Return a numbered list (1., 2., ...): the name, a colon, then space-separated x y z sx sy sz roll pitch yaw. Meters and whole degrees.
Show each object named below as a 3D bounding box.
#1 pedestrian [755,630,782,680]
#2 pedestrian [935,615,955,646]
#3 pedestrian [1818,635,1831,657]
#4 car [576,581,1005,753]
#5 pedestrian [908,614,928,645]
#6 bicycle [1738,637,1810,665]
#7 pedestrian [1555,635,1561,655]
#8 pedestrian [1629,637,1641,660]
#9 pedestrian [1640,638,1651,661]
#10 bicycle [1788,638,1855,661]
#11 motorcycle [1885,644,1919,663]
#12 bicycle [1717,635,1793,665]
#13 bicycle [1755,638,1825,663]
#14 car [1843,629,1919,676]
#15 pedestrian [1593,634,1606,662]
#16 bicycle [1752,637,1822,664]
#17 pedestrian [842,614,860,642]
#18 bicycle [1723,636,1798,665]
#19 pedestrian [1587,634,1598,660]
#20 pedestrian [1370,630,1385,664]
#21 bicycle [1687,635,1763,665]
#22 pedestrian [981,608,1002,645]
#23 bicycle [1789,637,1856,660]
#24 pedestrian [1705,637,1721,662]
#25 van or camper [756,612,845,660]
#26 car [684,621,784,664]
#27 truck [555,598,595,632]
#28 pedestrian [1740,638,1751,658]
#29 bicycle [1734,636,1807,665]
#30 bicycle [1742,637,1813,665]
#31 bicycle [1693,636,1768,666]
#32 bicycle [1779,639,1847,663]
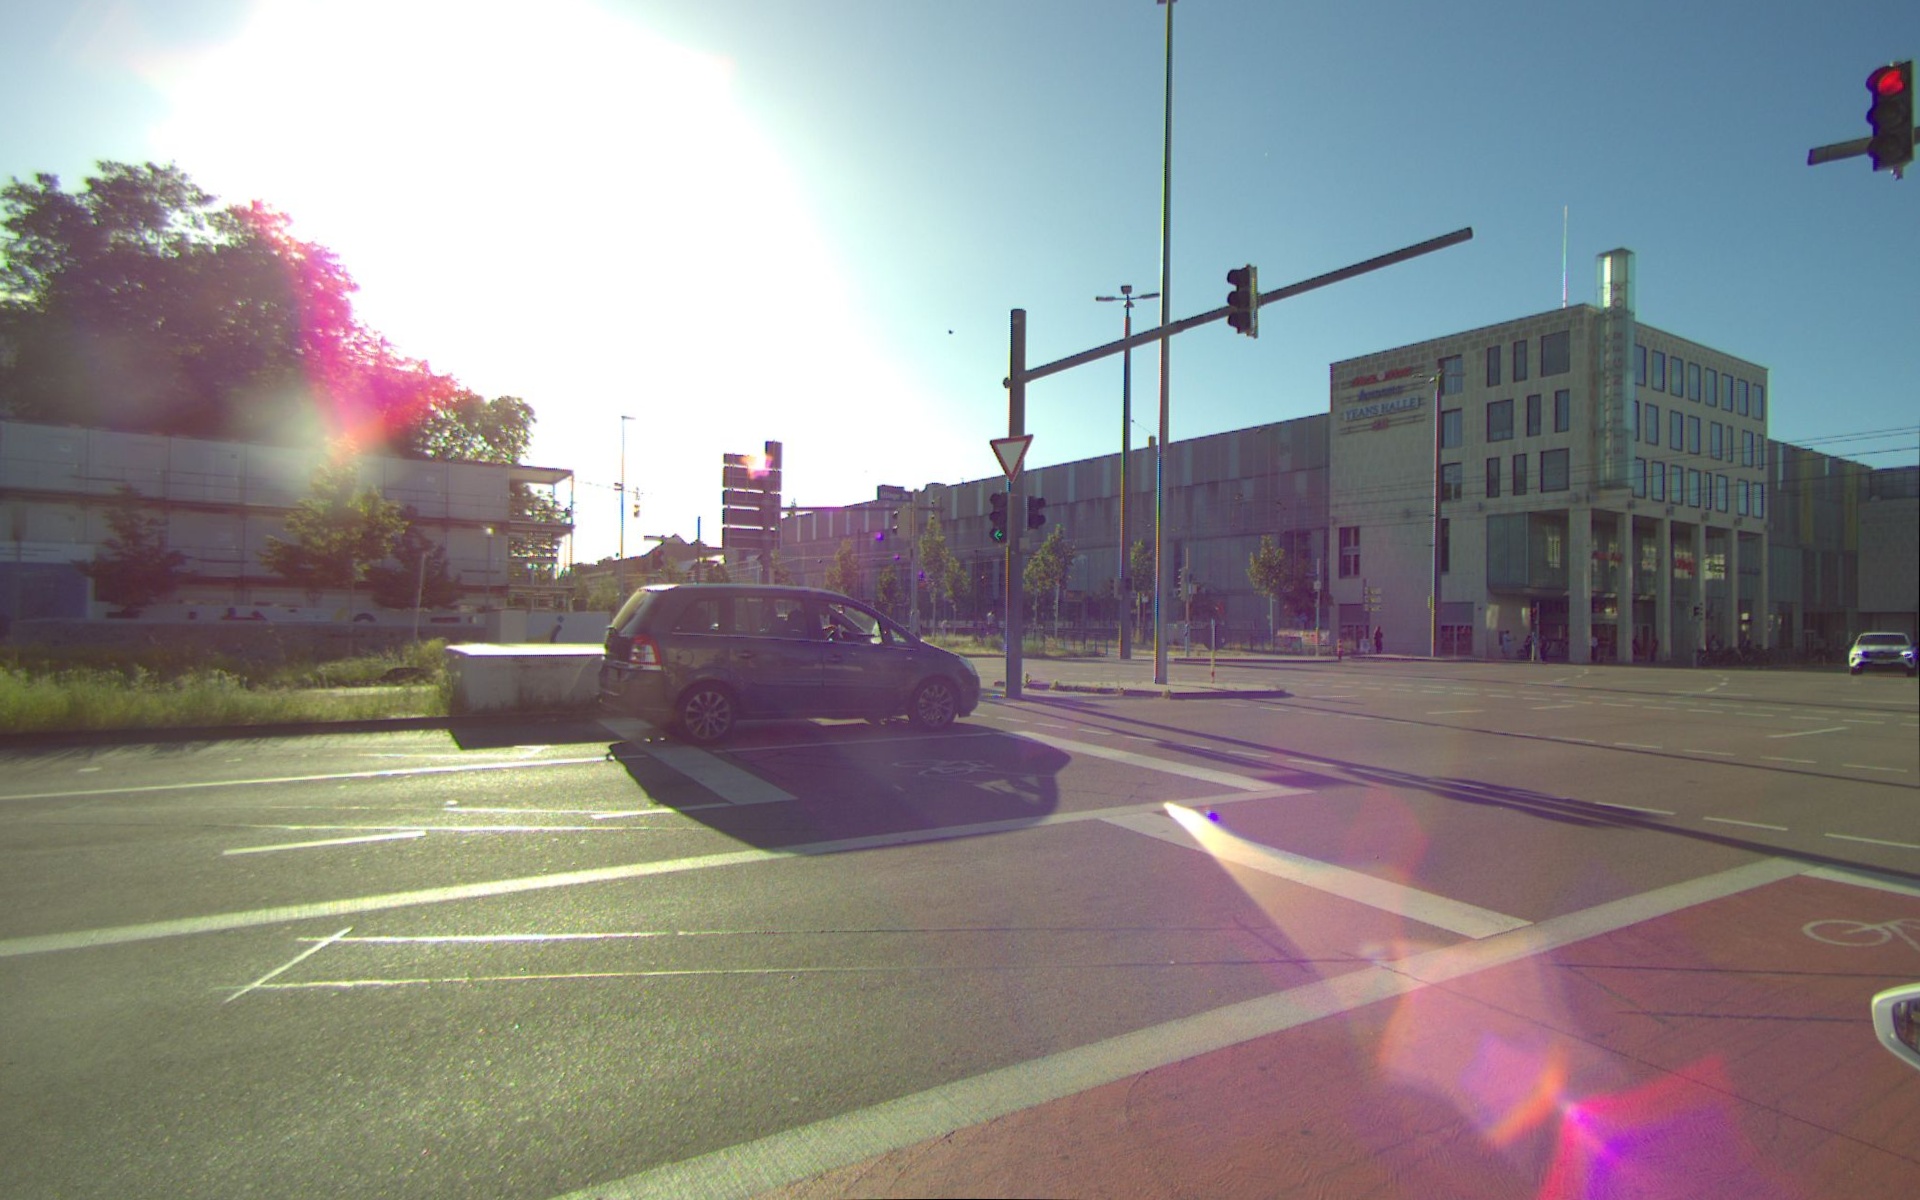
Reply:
1. pedestrian: -6.548 1.857 34.328 0.619 1.674 0.935 1 -1 -30
2. pedestrian: -0.916 1.812 59.645 0.889 1.855 0.787 1 -1 -35
3. pedestrian: 66.083 3.494 76.765 0.689 1.664 0.648 1 -1 -38
4. car: -1.888 0.664 11.504 4.428 1.629 1.984 1 0 -30
5. pedestrian: -2.494 1.761 60.046 0.889 1.855 0.787 1 -1 -35
6. bicycle: 51.948 3.226 64.158 0.979 1.719 3.462 1 -2 -40
7. pedestrian: 42.721 3.202 71.742 0.381 1.445 0.501 0 -1 33
8. pedestrian: 44.278 3.187 65.918 0.508 1.530 0.508 1 -1 -34
9. pedestrian: 44.981 3.235 65.915 0.508 1.530 0.479 1 -1 -34
10. bicycle: 60.385 3.432 70.471 0.979 1.547 3.462 2 -2 -40
11. motorcycle: 70.749 4.016 75.084 0.713 1.335 2.260 1 -2 -34
12. bicycle: 48.218 3.011 60.938 1.107 1.719 3.465 1 -2 -38
13. bicycle: 55.259 3.328 66.921 0.979 1.547 3.462 2 -2 -40
14. car: 34.821 1.927 38.042 1.971 1.682 4.384 -1 -2 41
15. pedestrian: 37.757 2.820 59.304 0.535 1.664 0.547 -1 -2 44
16. bicycle: 54.508 3.319 66.252 0.979 1.719 3.462 1 -2 -40
17. pedestrian: -7.126 1.828 65.851 0.889 1.855 0.787 1 -1 -35
18. bicycle: 49.147 3.078 61.739 1.107 1.719 3.465 1 -2 -38
19. pedestrian: 40.542 3.013 64.417 0.493 1.606 0.426 1 -1 -34
20. pedestrian: 21.467 2.430 51.674 0.541 1.716 0.523 1 -1 -31
21. bicycle: 45.702 2.975 60.033 1.107 1.719 3.465 1 -2 -38
22. pedestrian: 1.587 1.328 50.594 0.788 1.855 0.706 1 -1 -37
23. bicycle: 61.191 3.450 71.302 0.979 1.547 3.462 2 -2 -40
24. pedestrian: 50.196 3.294 66.962 0.690 1.664 0.777 1 -1 -43
25. van or camper: -7.295 1.595 45.646 1.981 2.040 4.821 1 -2 -36
26. car: -9.395 1.705 41.513 2.313 1.671 4.821 1 -2 -37
27. truck: -33.475 1.331 87.251 1.979 2.875 6.293 1 -2 -33
28. pedestrian: 59.908 3.650 76.583 0.630 1.454 0.474 0 -1 38
29. bicycle: 51.122 3.189 63.424 0.979 1.719 3.462 1 -2 -40
30. bicycle: 52.862 3.258 64.962 0.979 1.719 3.462 1 -2 -40
31. bicycle: 46.633 3.054 60.839 1.107 1.719 3.465 1 -2 -38
32. bicycle: 58.877 3.478 69.389 0.979 1.547 3.462 2 -2 -40
